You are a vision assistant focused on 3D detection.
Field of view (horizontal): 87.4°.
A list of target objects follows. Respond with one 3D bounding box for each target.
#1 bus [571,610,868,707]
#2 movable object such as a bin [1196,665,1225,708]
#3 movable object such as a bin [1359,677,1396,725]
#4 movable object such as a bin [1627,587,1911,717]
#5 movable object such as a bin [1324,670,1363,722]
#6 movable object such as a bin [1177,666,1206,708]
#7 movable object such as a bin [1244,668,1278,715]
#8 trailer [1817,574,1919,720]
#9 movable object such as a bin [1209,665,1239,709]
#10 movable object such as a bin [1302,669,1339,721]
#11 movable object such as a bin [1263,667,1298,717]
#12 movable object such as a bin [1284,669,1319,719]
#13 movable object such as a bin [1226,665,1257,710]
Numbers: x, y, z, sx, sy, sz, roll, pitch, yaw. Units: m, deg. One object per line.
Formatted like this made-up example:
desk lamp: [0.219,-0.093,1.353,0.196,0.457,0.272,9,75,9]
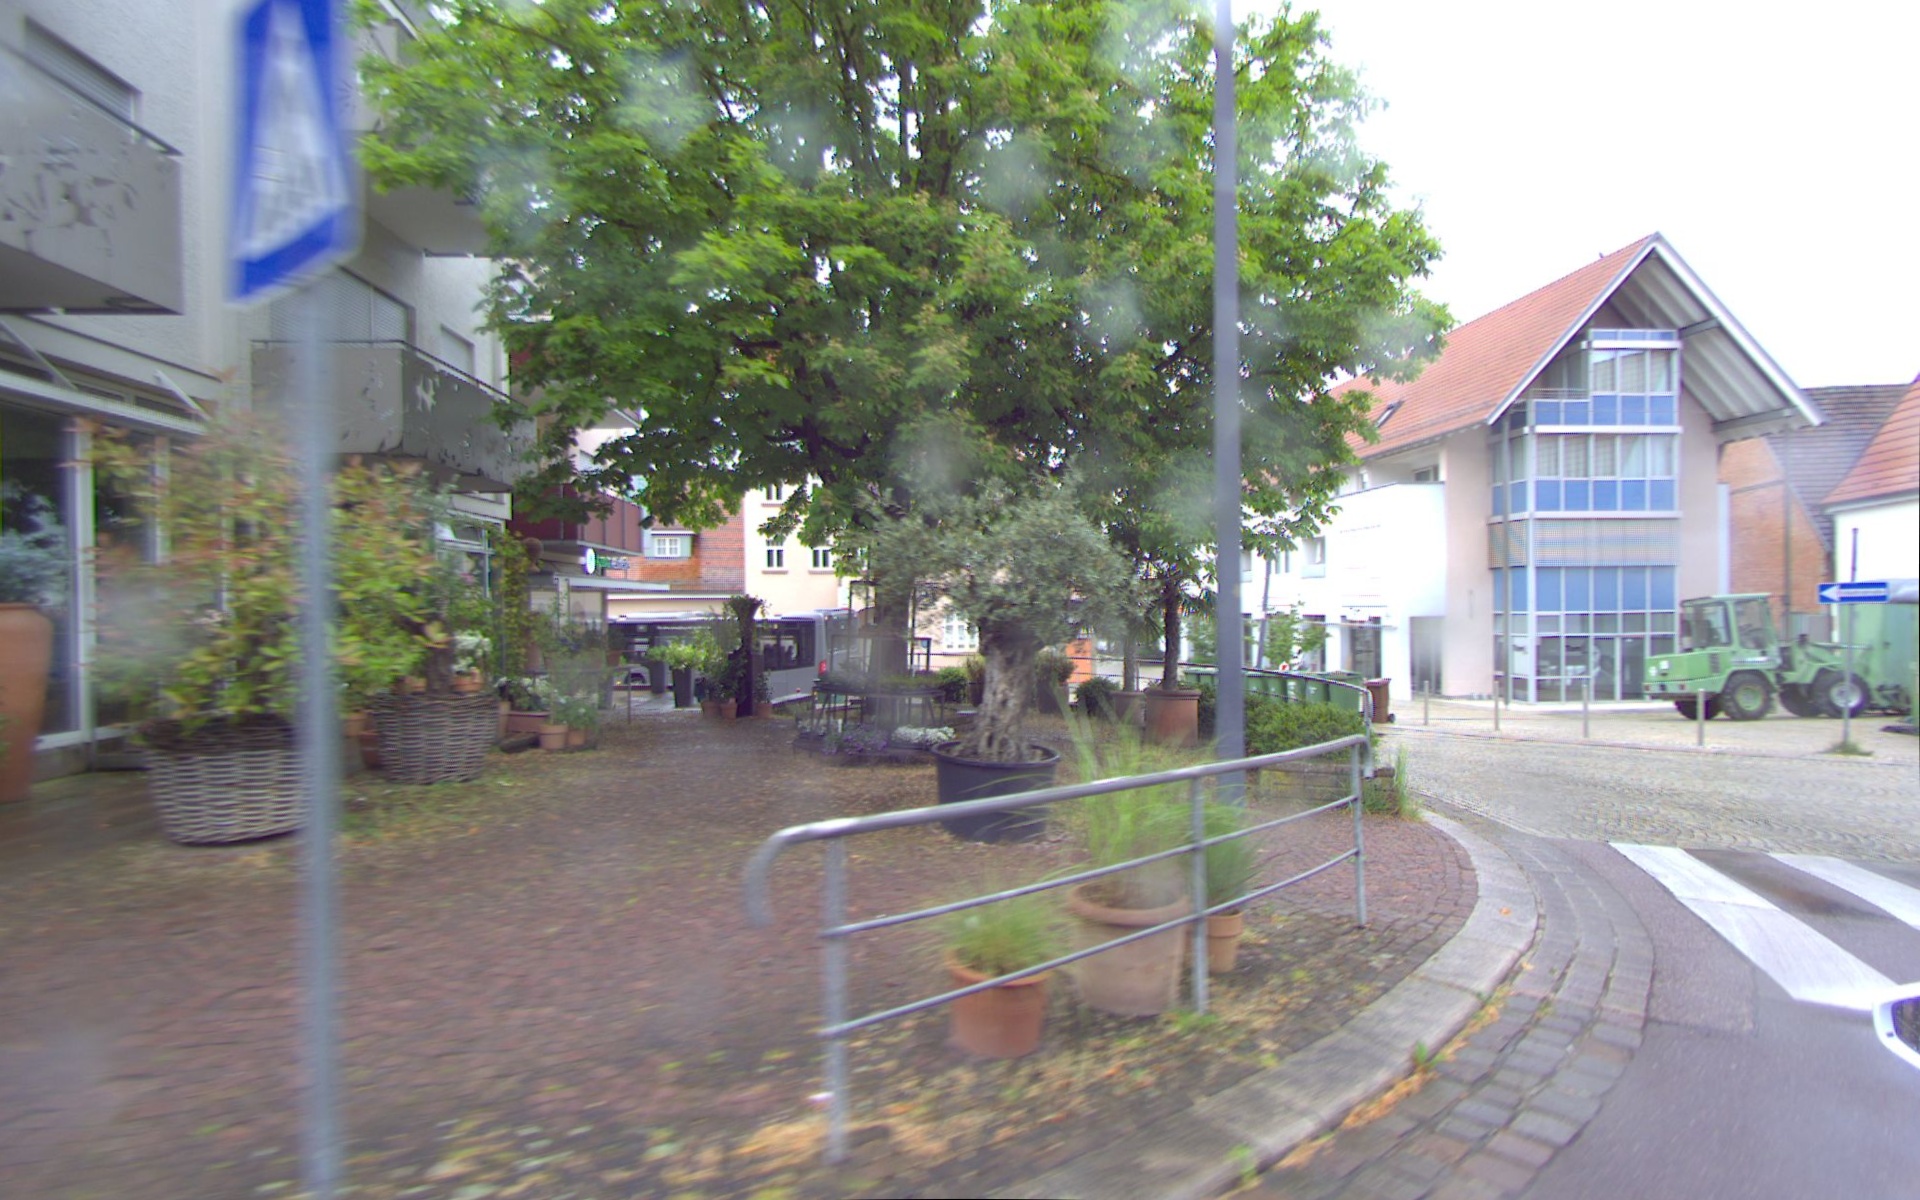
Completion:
bus: [-8.422,1.947,34.735,10.354,3.030,2.787,-1,-1,23]
movable object such as a bin: [6.788,2.330,27.195,0.531,1.141,0.537,0,-3,-23]
movable object such as a bin: [9.051,2.186,21.783,0.555,1.004,0.494,1,-3,-32]
movable object such as a bin: [16.941,1.115,21.264,4.204,2.587,1.913,-1,-3,8]
movable object such as a bin: [8.593,2.141,22.521,0.553,1.141,0.548,0,-3,-23]
movable object such as a bin: [6.382,2.390,27.727,0.532,1.141,0.535,1,-3,-33]
movable object such as a bin: [7.465,2.268,24.919,0.553,1.141,0.548,0,-3,-23]
trailer: [20.370,0.950,20.474,2.442,2.874,4.635,1,0,12]
movable object such as a bin: [7.003,2.290,26.648,0.553,1.141,0.548,0,-3,-23]
movable object such as a bin: [8.247,2.167,23.002,0.553,1.141,0.548,0,-3,-23]
movable object such as a bin: [7.746,2.220,24.272,0.553,1.175,0.548,0,-3,-23]
movable object such as a bin: [8.034,2.212,23.648,0.553,1.141,0.539,0,-3,-23]
movable object such as a bin: [7.316,2.269,26.130,0.553,1.141,0.548,0,-3,-23]
